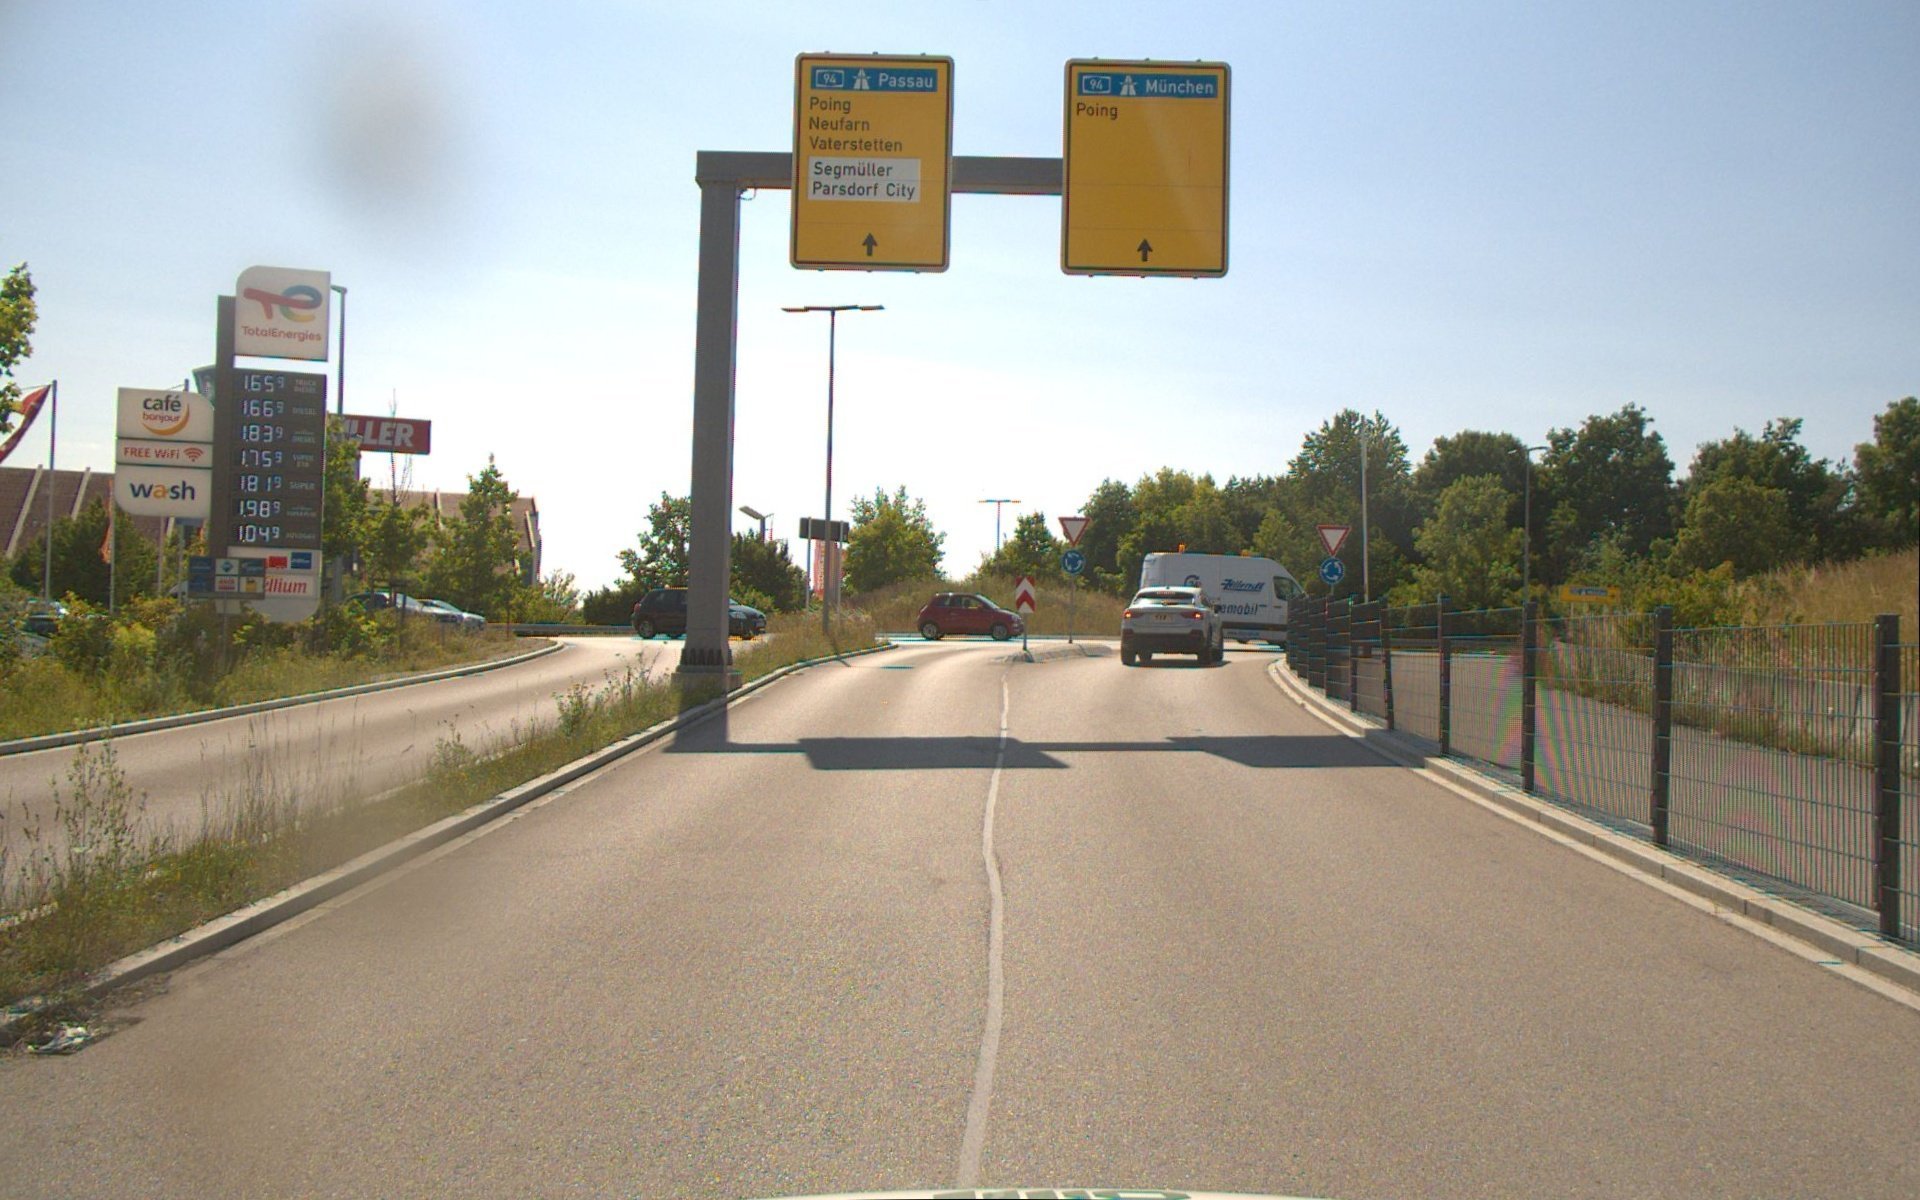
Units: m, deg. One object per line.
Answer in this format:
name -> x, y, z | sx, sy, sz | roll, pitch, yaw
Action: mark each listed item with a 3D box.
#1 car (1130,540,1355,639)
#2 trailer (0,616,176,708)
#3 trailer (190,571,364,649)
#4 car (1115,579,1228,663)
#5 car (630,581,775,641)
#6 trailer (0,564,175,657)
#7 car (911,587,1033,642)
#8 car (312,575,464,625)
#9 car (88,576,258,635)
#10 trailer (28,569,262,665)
car -> 8.153, -0.281, 47.894 | 6.061, 2.599, 2.085 | 2, -1, -10
trailer -> -14.134, 0.970, 26.164 | 2.854, 1.345, 1.384 | 2, -1, -15
trailer -> -16.465, 0.220, 39.917 | 3.652, 1.803, 1.786 | 0, 1, -34
car -> 4.501, 0.421, 34.661 | 1.802, 1.624, 4.328 | 1, 0, 14
car -> -7.641, 0.334, 49.261 | 3.865, 1.646, 1.820 | 2, -1, 7
trailer -> -18.286, 0.224, 33.979 | 3.652, 1.803, 1.786 | 2, -1, -34
car -> 0.421, 0.456, 53.655 | 3.643, 1.646, 1.874 | 2, -1, 10
car -> -18.789, -0.011, 54.278 | 4.765, 1.478, 1.997 | 2, -1, 29
car -> -33.017, 0.254, 69.565 | 6.158, 2.273, 2.029 | 2, -1, -19
trailer -> -15.137, 0.327, 30.768 | 3.652, 1.477, 1.688 | 5, -2, -34
